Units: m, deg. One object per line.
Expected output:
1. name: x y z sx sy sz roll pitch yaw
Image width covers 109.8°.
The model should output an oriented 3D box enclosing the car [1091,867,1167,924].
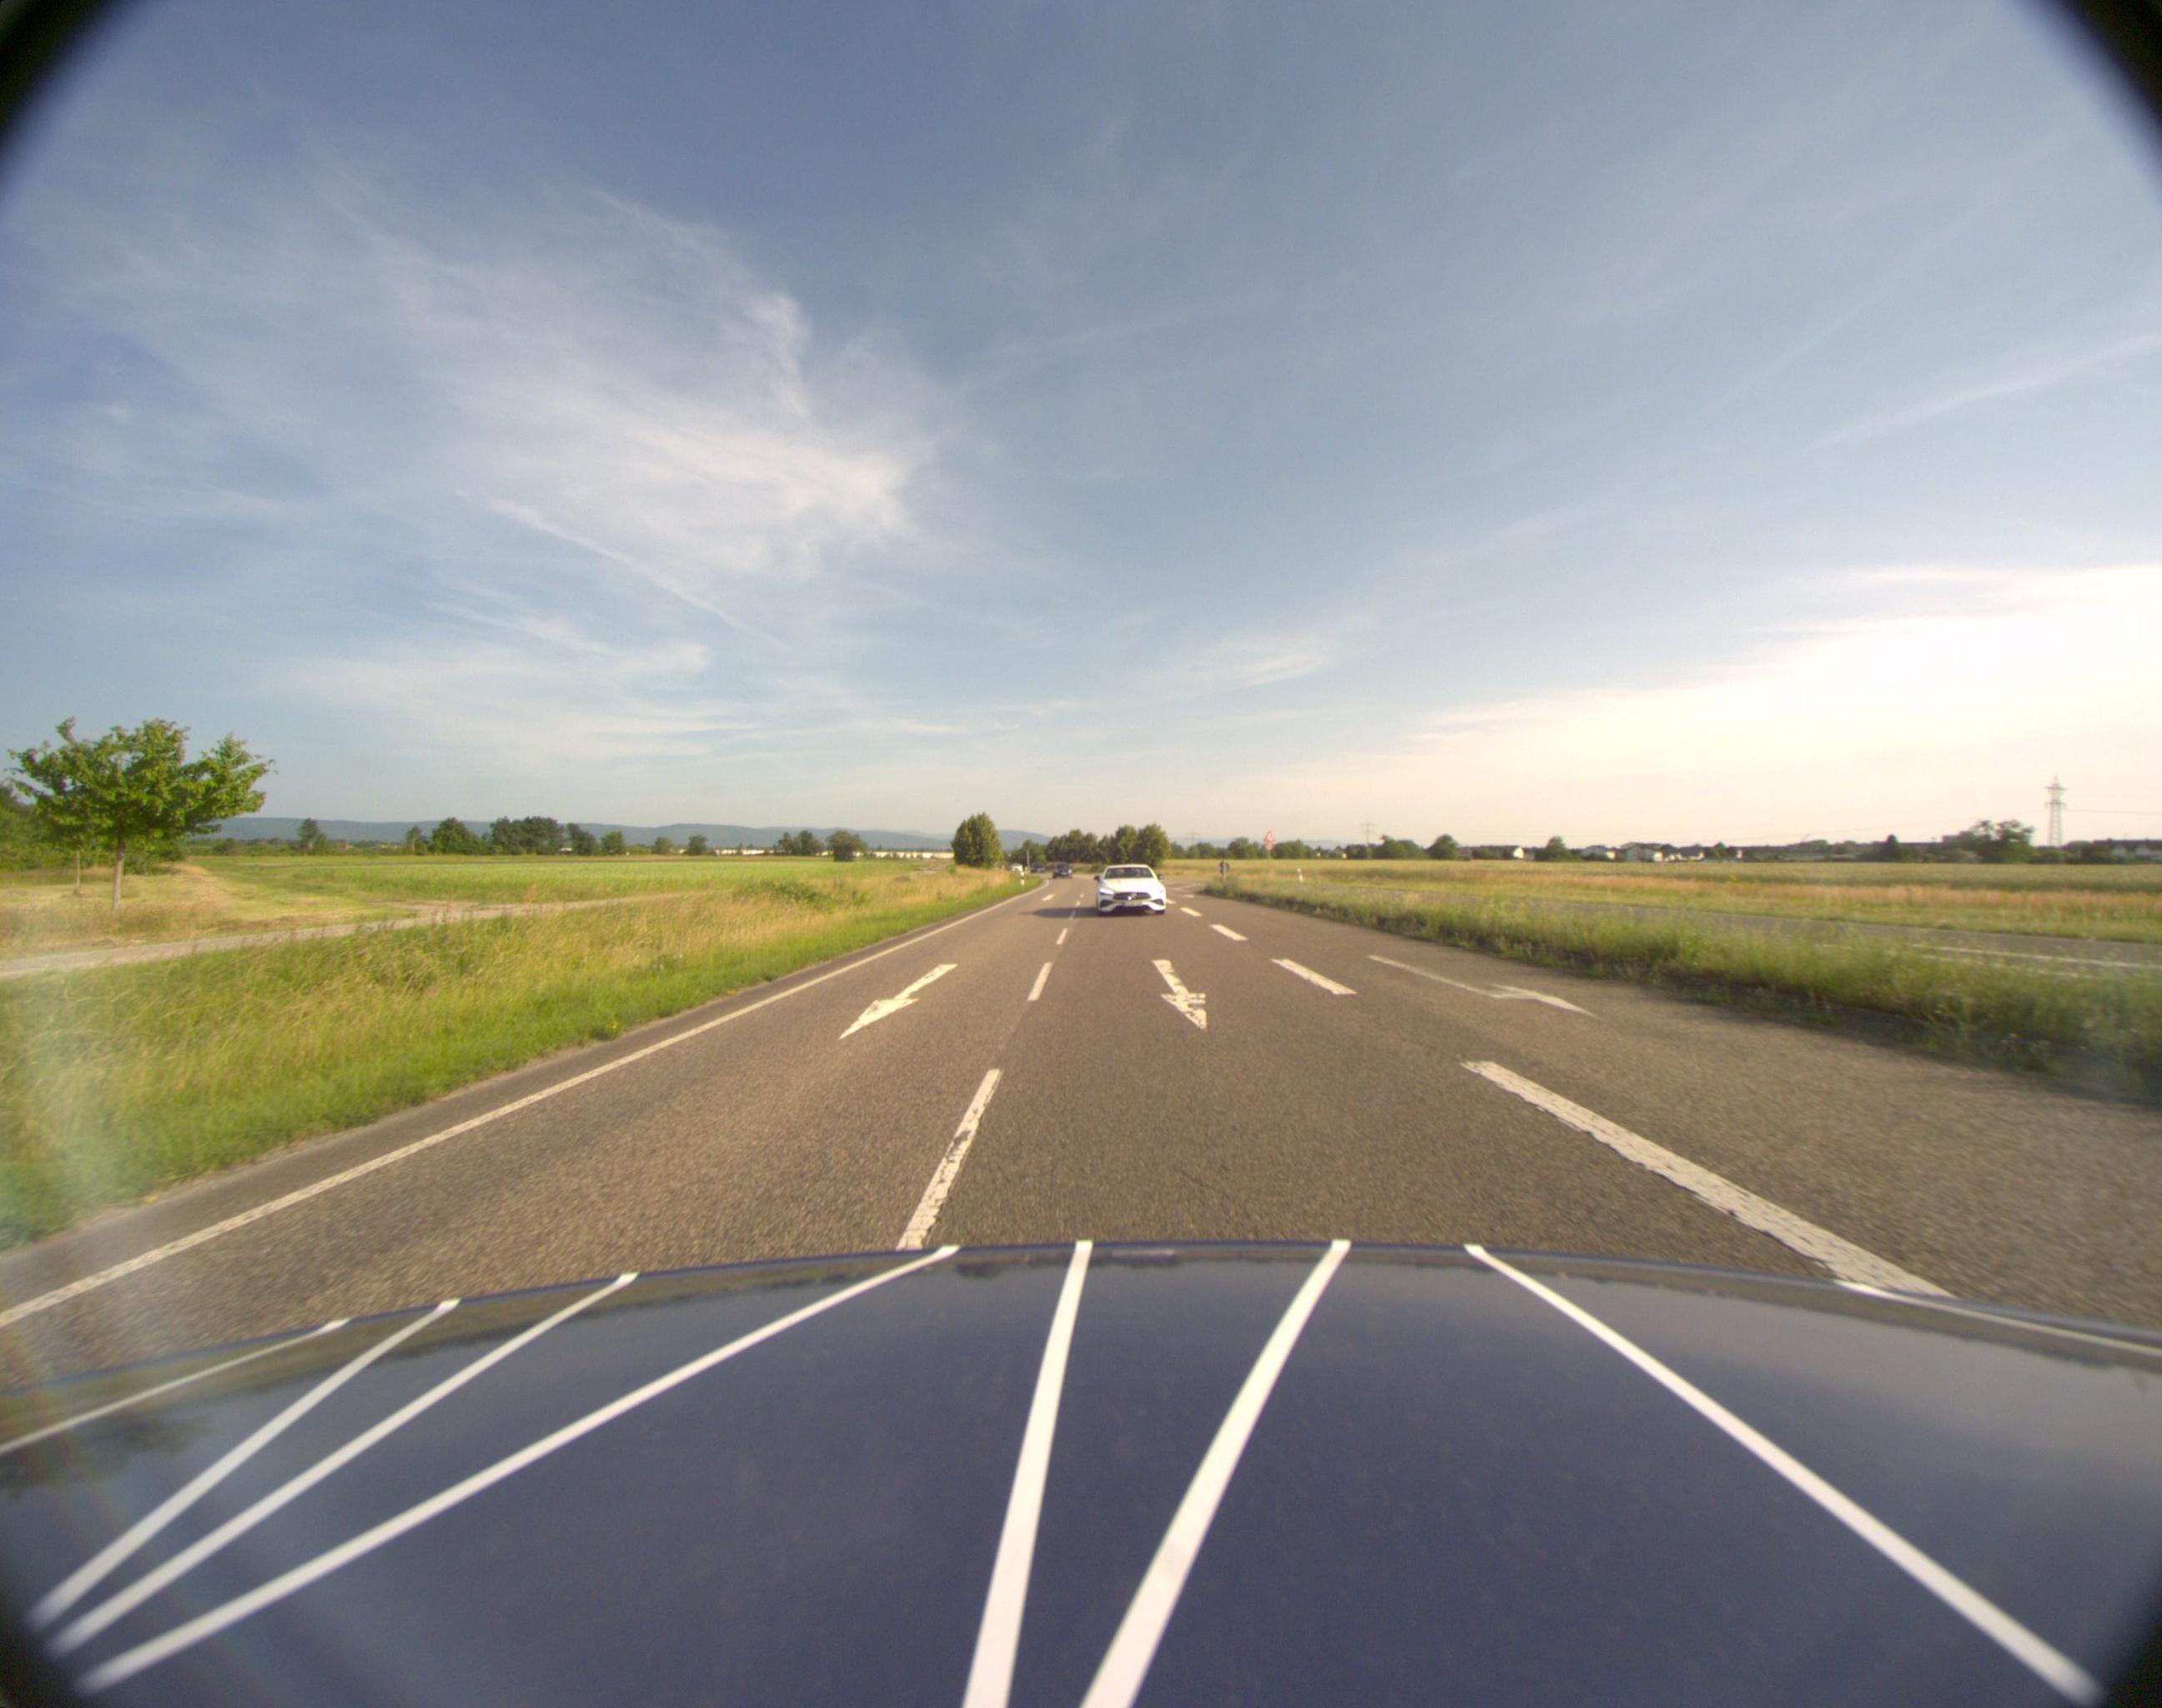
1. car: 1.407 1.116 21.951 1.940 1.389 3.920 -2 0 4

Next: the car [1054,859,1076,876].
1. car: -1.559 1.296 73.144 1.586 1.496 3.658 -1 0 -9

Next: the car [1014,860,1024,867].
1. car: -11.904 1.820 146.657 1.558 1.391 4.032 -1 0 -9

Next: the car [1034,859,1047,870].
1. car: -6.057 1.566 112.778 1.558 1.550 3.047 -1 0 -9
